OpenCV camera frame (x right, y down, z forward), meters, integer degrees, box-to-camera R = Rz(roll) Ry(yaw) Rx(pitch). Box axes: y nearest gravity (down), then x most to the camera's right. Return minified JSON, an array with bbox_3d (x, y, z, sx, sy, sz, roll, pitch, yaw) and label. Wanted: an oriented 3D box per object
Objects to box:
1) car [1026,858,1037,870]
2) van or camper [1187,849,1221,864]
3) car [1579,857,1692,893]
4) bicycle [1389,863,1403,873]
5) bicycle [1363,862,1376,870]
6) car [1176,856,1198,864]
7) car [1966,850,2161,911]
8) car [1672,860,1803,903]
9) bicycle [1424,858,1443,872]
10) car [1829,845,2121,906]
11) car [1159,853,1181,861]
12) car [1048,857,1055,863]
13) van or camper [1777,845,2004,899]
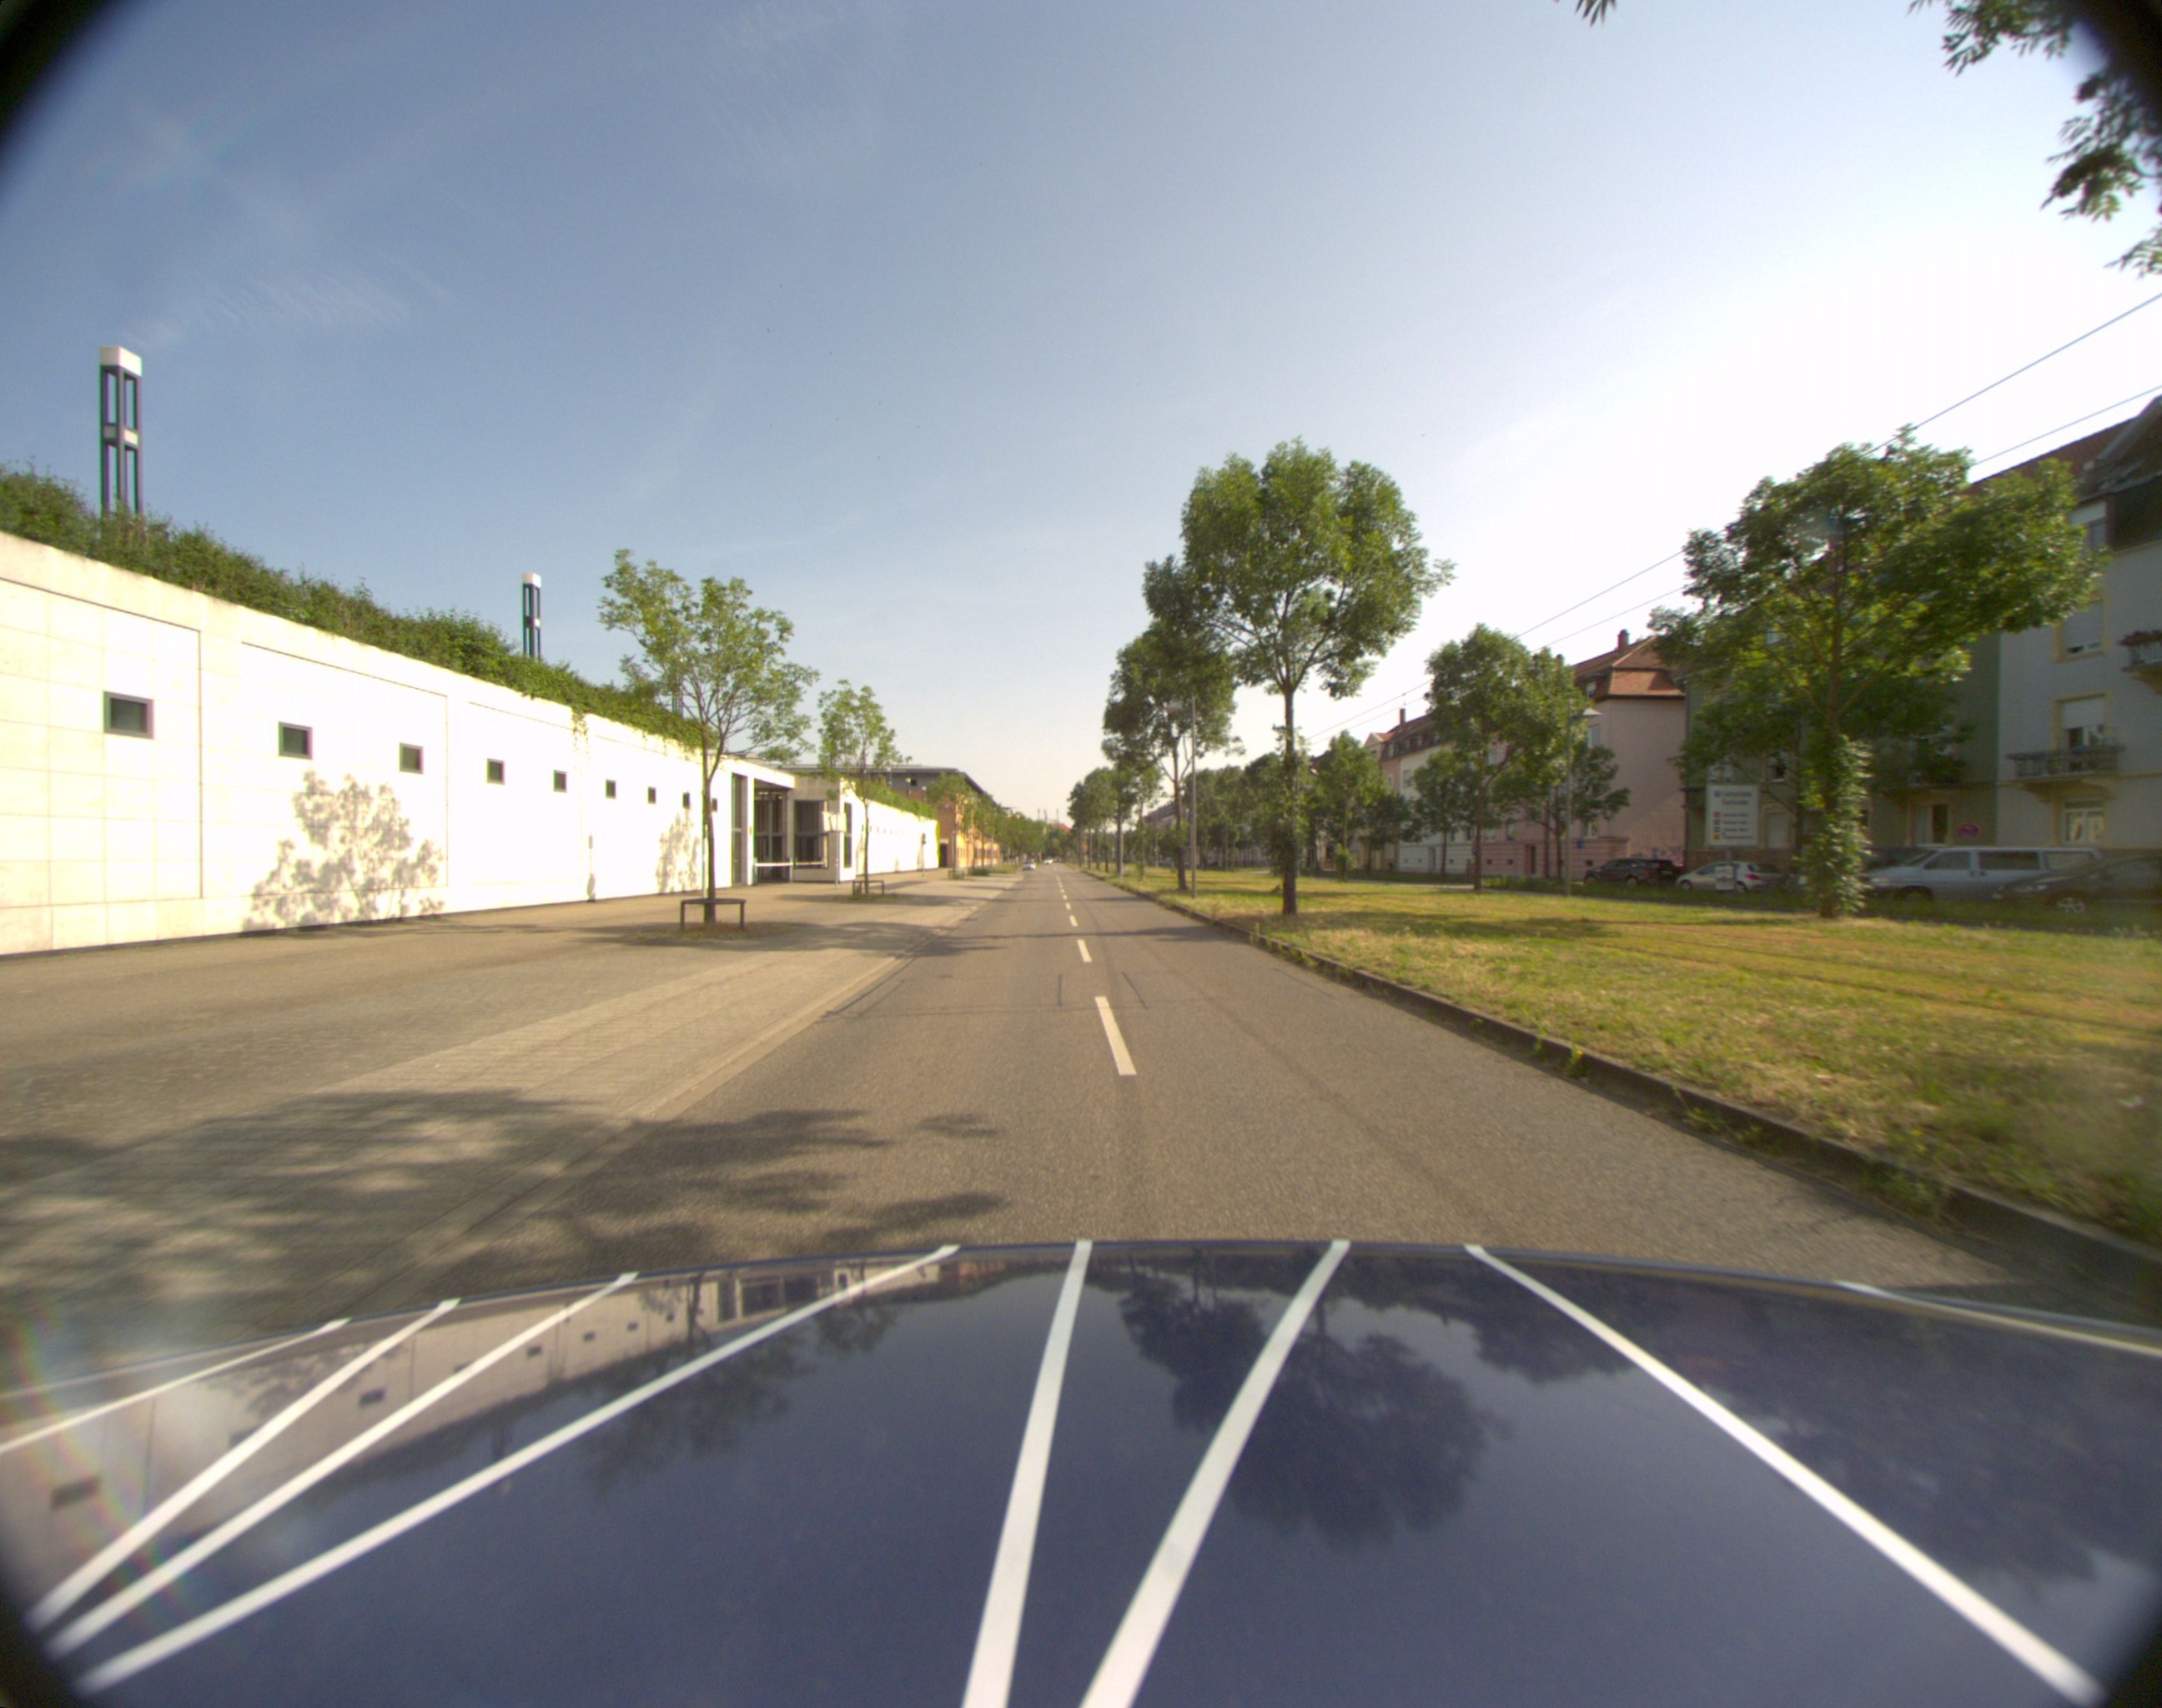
[{"bbox_3d":[-7.159,1.434,109.938,1.629,1.476,3.365,-2,1,-3],"label":"car"},{"bbox_3d":[22.884,0.435,141.463,5.910,2.559,2.203,-2,1,33],"label":"van or camper"},{"bbox_3d":[27.896,1.010,38.435,1.999,1.619,4.773,-2,0,-4],"label":"car"},{"bbox_3d":[29.672,1.343,71.587,0.448,0.852,1.947,-2,1,-3],"label":"bicycle"},{"bbox_3d":[29.541,1.225,77.869,0.438,0.784,1.947,-2,1,-3],"label":"bicycle"},{"bbox_3d":[21.579,1.229,154.516,4.004,1.309,1.665,-2,1,33],"label":"car"},{"bbox_3d":[26.269,0.656,19.366,4.464,1.411,1.979,-2,1,33],"label":"car"},{"bbox_3d":[27.961,1.111,32.541,1.895,1.619,4.155,-2,0,-2],"label":"car"},{"bbox_3d":[29.926,0.916,64.544,0.605,1.121,1.947,-2,1,-3],"label":"bicycle"},{"bbox_3d":[26.141,0.626,22.575,5.208,1.614,2.060,-2,1,31],"label":"car"},{"bbox_3d":[21.220,0.695,181.275,4.939,1.716,1.860,-2,1,33],"label":"car"},{"bbox_3d":[-7.747,1.458,199.840,1.693,1.476,3.365,-2,1,-3],"label":"car"},{"bbox_3d":[26.830,0.601,25.476,4.837,1.614,2.006,-2,1,31],"label":"van or camper"}]
